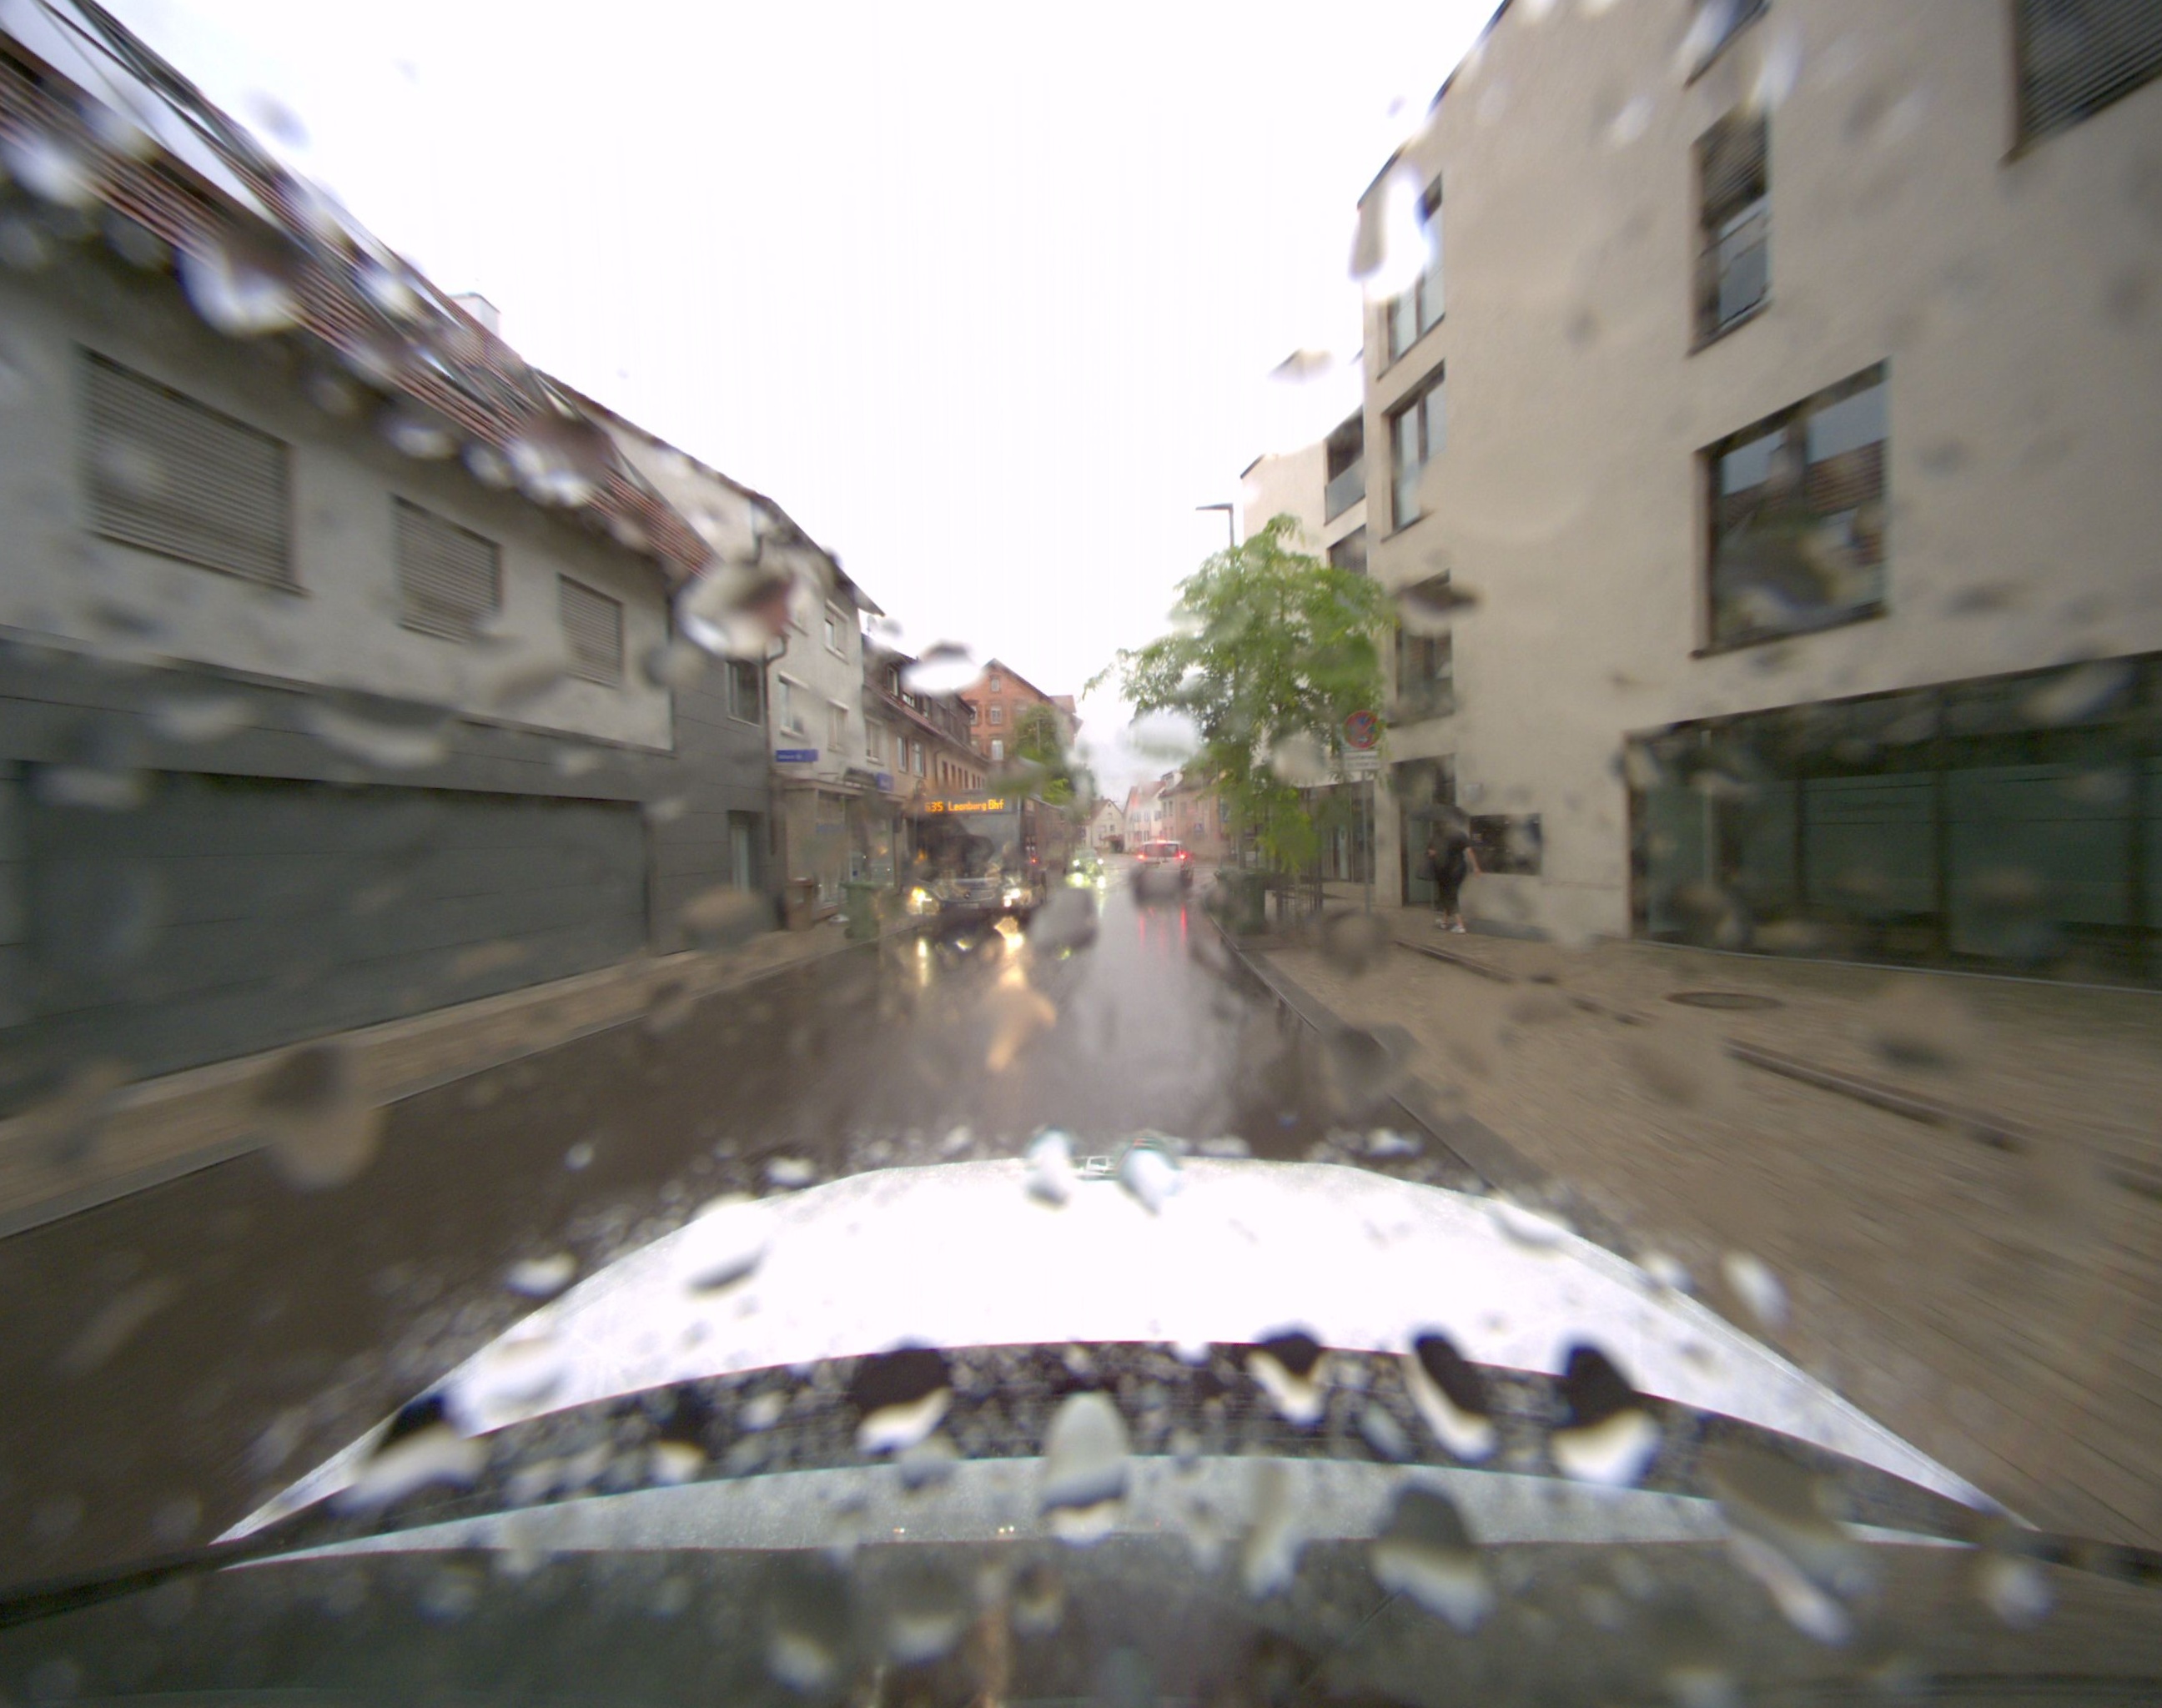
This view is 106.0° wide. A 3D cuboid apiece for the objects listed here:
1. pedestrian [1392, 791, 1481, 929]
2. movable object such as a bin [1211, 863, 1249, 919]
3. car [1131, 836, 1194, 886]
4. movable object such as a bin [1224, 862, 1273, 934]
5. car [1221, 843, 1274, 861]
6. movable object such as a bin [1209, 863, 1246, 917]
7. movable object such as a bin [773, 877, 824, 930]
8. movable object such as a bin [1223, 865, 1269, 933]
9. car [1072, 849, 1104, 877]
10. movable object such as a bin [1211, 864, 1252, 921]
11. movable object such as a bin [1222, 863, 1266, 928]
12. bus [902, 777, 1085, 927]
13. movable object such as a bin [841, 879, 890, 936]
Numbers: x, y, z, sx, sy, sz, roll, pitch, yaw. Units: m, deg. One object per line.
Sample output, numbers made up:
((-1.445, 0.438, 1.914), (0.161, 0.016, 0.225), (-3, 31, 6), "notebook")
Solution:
((5.437, 0.092, 12.514), (0.864, 2.014, 1.083), (-1, -1, 1), "pedestrian")
((3.123, 0.769, 17.094), (0.720, 1.118, 0.577), (-1, 0, 6), "movable object such as a bin")
((3.476, 0.301, 33.773), (2.139, 1.898, 4.940), (-1, 0, 11), "car")
((2.870, 0.745, 14.035), (0.747, 1.171, 0.632), (-3, -1, 9), "movable object such as a bin")
((14.137, -0.141, 69.403), (3.987, 1.486, 1.993), (-1, -1, -10), "car")
((3.176, 0.773, 17.679), (0.720, 1.118, 0.577), (-1, 0, 6), "movable object such as a bin")
((-5.846, 1.014, 16.879), (0.790, 1.059, 0.702), (-1, 0, 1), "movable object such as a bin")
((3.007, 0.809, 14.894), (0.747, 1.171, 0.632), (-3, -1, 9), "movable object such as a bin")
((0.431, 0.486, 48.007), (1.780, 1.507, 4.470), (-1, 1, 1), "car")
((3.039, 0.765, 16.484), (0.758, 1.118, 0.625), (-1, 0, 6), "movable object such as a bin")
((3.106, 0.785, 15.557), (0.747, 1.171, 0.632), (-3, -1, 9), "movable object such as a bin")
((-1.808, -0.082, 22.401), (2.710, 3.079, 10.964), (-1, 0, 6), "bus")
((-4.162, 1.025, 15.768), (0.738, 1.059, 0.726), (-1, 0, 1), "movable object such as a bin")
